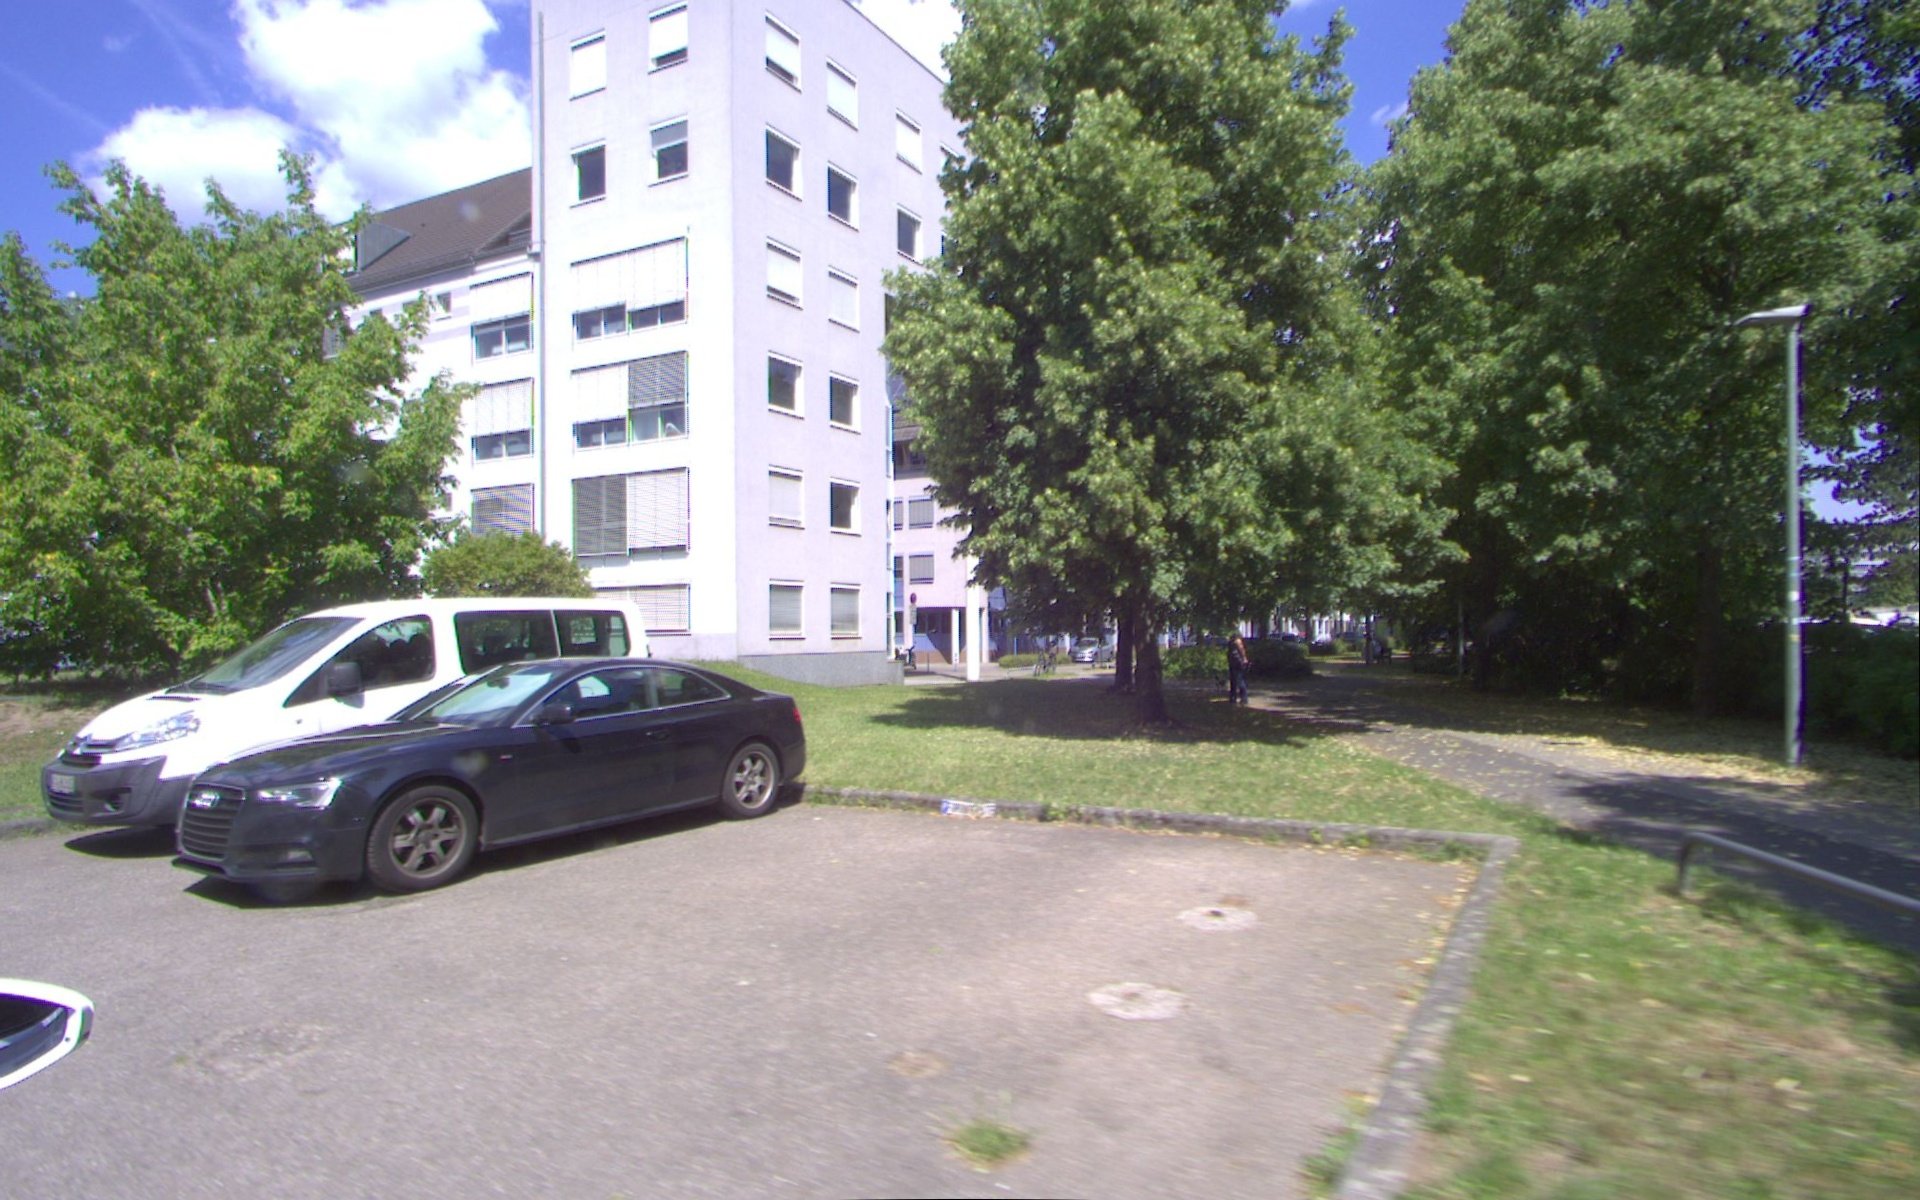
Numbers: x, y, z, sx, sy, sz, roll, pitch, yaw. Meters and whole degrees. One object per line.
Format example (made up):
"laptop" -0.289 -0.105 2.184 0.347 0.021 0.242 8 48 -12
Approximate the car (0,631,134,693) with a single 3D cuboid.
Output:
"car" -23.949 1.555 25.639 1.778 1.497 3.981 -1 -1 31

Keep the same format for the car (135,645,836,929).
"car" -3.110 1.083 7.641 1.807 1.369 4.603 0 -1 32

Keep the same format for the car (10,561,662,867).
"car" -5.278 0.839 9.246 1.972 2.039 4.751 -1 -2 32

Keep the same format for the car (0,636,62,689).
"car" -27.147 1.710 27.058 1.778 1.408 3.981 -1 -1 31

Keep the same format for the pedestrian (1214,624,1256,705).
"pedestrian" 5.529 1.280 20.141 0.728 1.584 0.748 0 -1 22

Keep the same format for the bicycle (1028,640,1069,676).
"bicycle" 2.961 1.911 33.290 0.592 1.098 1.931 0 -1 30
